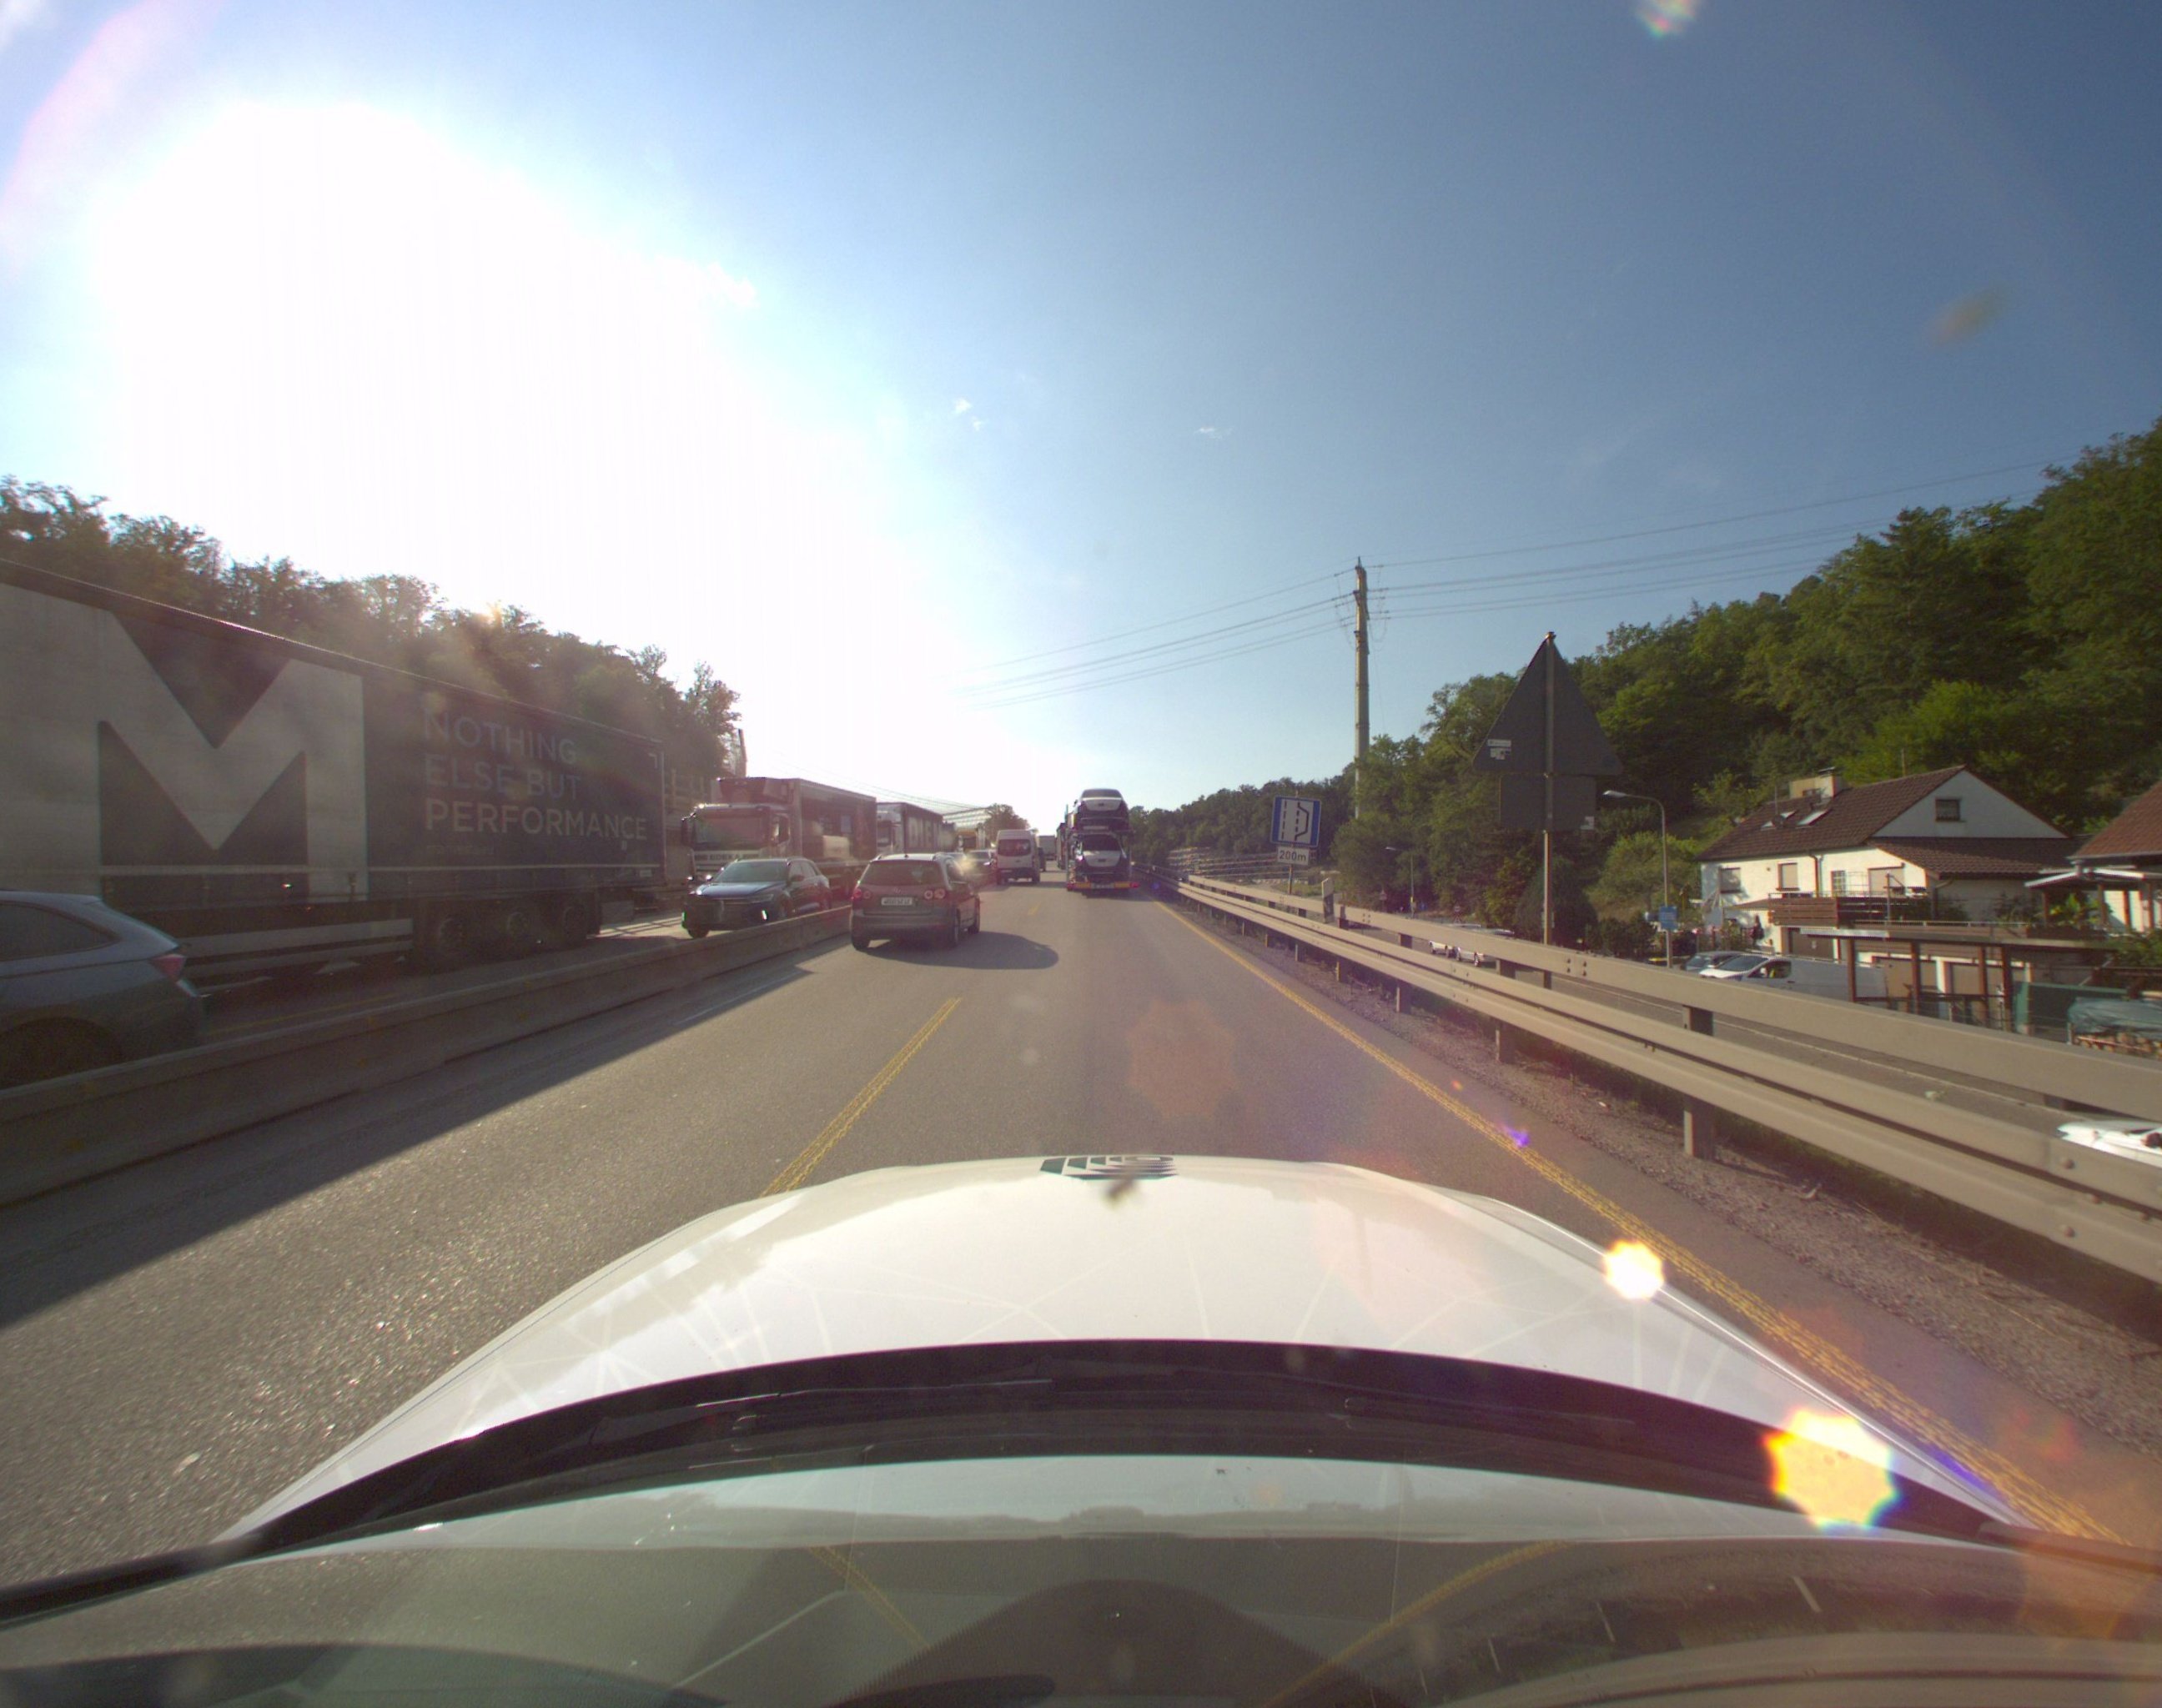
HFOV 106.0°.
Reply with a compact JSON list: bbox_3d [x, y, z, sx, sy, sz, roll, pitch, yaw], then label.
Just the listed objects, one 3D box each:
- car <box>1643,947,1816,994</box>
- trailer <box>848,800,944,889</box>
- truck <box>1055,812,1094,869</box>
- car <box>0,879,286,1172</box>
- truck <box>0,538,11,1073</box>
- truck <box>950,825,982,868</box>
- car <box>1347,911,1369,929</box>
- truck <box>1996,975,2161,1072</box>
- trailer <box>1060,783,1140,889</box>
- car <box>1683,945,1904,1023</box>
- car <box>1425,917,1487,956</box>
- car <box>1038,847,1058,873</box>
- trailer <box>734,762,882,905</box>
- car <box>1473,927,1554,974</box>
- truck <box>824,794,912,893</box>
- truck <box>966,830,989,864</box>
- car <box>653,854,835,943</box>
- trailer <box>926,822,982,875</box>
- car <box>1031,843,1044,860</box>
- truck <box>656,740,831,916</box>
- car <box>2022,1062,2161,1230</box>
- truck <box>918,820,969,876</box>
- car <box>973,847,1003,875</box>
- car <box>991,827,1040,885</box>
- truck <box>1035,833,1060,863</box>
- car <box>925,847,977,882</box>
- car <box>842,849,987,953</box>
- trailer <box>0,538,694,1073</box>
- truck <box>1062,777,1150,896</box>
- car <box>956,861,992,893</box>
[{"bbox_3d":[24.732,4.427,31.211,5.065,1.557,1.718,0,-2,5],"label":"car"},{"bbox_3d":[-9.857,-0.436,45.111,2.708,4.122,12.482,-2,0,-2],"label":"trailer"},{"bbox_3d":[-0.649,-1.203,74.063,3.219,4.676,11.689,-1,1,-1],"label":"truck"},{"bbox_3d":[-6.326,0.843,3.120,1.768,1.457,4.814,0,-1,0],"label":"car"},{"bbox_3d":[-9.907,-0.390,3.391,2.755,4.203,6.115,-2,-1,1],"label":"truck"},{"bbox_3d":[-11.525,-0.720,81.985,2.696,4.141,5.785,-1,-1,-4],"label":"truck"},{"bbox_3d":[26.873,6.390,79.096,1.515,1.461,4.282,-2,-1,13],"label":"car"},{"bbox_3d":[22.905,3.730,17.688,2.010,1.738,3.951,9,-5,-44],"label":"truck"},{"bbox_3d":[0.520,-0.595,38.757,2.867,3.994,15.267,-1,-1,-2],"label":"trailer"},{"bbox_3d":[23.901,4.336,27.519,5.439,2.264,2.003,0,-2,5],"label":"car"},{"bbox_3d":[22.522,4.904,49.127,1.852,1.986,5.060,-2,-3,7],"label":"car"},{"bbox_3d":[-2.629,0.497,65.397,1.524,2.014,3.997,1,-1,-1],"label":"car"},{"bbox_3d":[-9.490,-0.625,29.252,2.902,4.465,7.150,-1,-1,-1],"label":"trailer"},{"bbox_3d":[21.133,4.672,40.025,1.984,1.917,4.875,-2,-3,9],"label":"car"},{"bbox_3d":[-9.572,-0.446,37.185,2.742,4.115,5.025,-2,0,-3],"label":"truck"},{"bbox_3d":[-13.384,-0.839,105.161,2.690,4.197,4.389,-1,-1,-6],"label":"truck"},{"bbox_3d":[-6.539,0.831,16.436,1.761,1.551,4.478,0,-1,0],"label":"car"},{"bbox_3d":[-10.460,-0.405,68.604,2.742,3.815,16.030,-2,0,-3],"label":"trailer"},{"bbox_3d":[-5.487,-0.278,103.581,1.524,2.014,3.997,1,-1,-2],"label":"car"},{"bbox_3d":[-9.468,-0.658,23.477,2.911,4.514,5.026,-1,-1,-1],"label":"truck"},{"bbox_3d":[13.618,3.612,8.955,1.659,1.662,4.479,-2,-2,7],"label":"car"},{"bbox_3d":[-10.090,-0.435,60.372,2.742,3.805,7.104,-2,0,-3],"label":"truck"},{"bbox_3d":[-6.949,0.533,61.258,1.820,1.933,5.122,-4,-1,-4],"label":"car"},{"bbox_3d":[-3.165,0.110,40.212,1.973,2.684,4.146,-2,-1,0],"label":"car"},{"bbox_3d":[-5.377,-1.088,134.613,3.637,4.676,11.693,-1,1,0],"label":"truck"},{"bbox_3d":[-6.620,0.537,42.159,1.871,1.605,5.365,-3,0,-1],"label":"car"},{"bbox_3d":[-2.834,0.755,14.781,1.695,1.587,4.147,-2,-1,0],"label":"car"},{"bbox_3d":[-9.806,-0.309,10.481,2.766,4.203,13.833,-2,-1,1],"label":"trailer"},{"bbox_3d":[0.783,-0.561,30.426,2.862,3.980,5.766,-1,-1,-2],"label":"truck"},{"bbox_3d":[-6.979,1.470,53.667,1.828,1.963,4.895,-1,-1,-2],"label":"car"}]
